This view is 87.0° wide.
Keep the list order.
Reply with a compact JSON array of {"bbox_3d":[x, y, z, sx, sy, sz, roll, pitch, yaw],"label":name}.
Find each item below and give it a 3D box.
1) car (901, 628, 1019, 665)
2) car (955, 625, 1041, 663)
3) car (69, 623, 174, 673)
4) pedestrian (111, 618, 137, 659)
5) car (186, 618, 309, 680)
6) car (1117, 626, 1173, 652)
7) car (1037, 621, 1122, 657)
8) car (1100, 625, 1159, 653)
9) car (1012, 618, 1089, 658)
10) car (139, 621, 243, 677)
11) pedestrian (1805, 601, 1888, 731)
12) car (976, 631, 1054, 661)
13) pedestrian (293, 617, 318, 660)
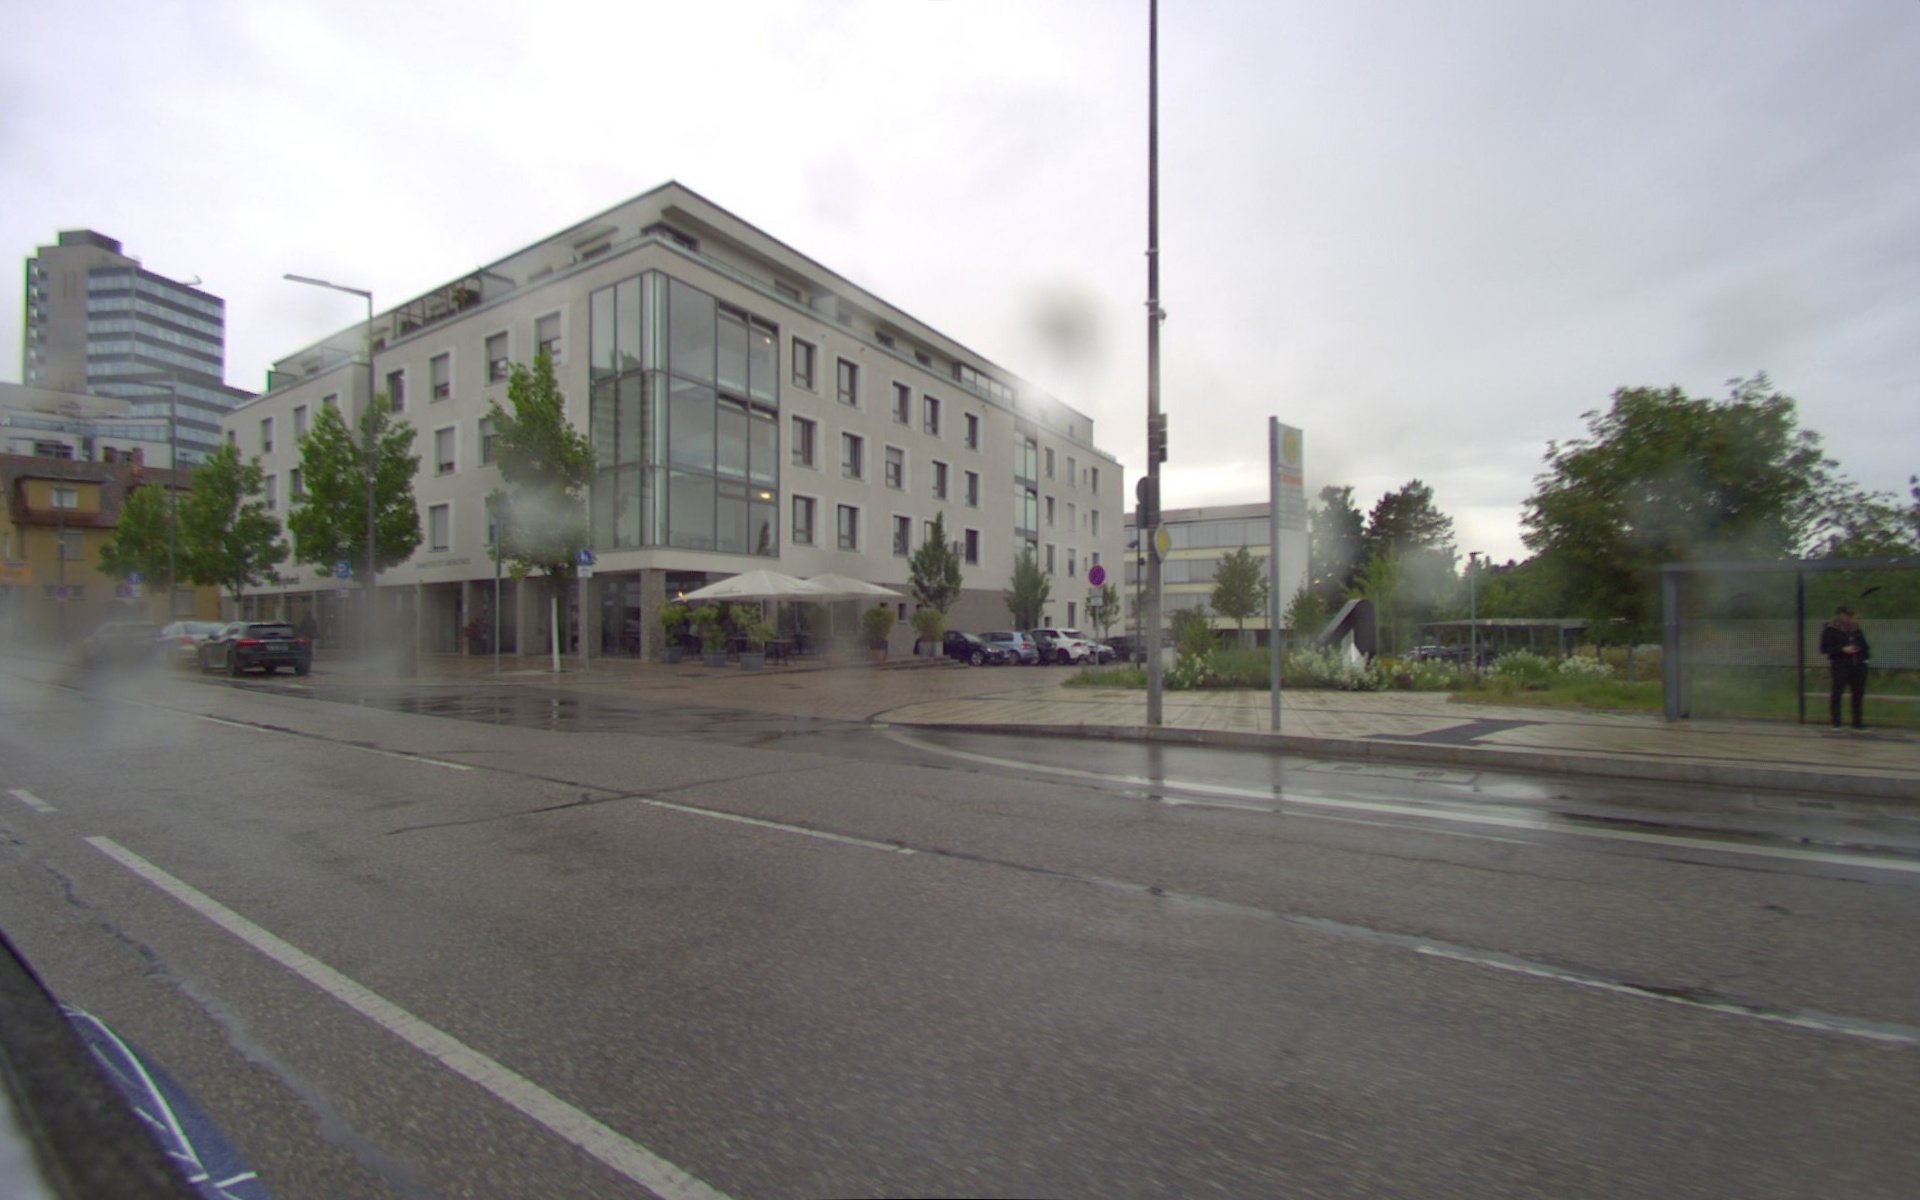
[{"bbox_3d":[-0.010,1.871,41.078,4.442,1.305,1.781,1,-1,23],"label":"car"},{"bbox_3d":[1.626,1.870,43.663,3.410,1.470,1.491,1,-1,21],"label":"car"},{"bbox_3d":[-28.858,1.605,34.796,4.471,1.473,1.779,1,0,37],"label":"car"},{"bbox_3d":[-38.510,1.768,46.630,0.882,1.801,0.792,0,-1,44],"label":"pedestrian"},{"bbox_3d":[-19.622,1.304,27.815,4.465,1.594,1.572,-1,-2,39],"label":"car"},{"bbox_3d":[11.537,2.437,63.177,3.201,1.493,1.434,1,-1,23],"label":"car"},{"bbox_3d":[6.173,1.994,52.120,3.971,1.702,1.986,1,-1,21],"label":"car"},{"bbox_3d":[10.148,2.315,60.469,3.192,1.570,1.504,1,-1,25],"label":"car"},{"bbox_3d":[4.408,1.842,49.405,3.436,1.790,1.480,1,-1,23],"label":"car"},{"bbox_3d":[-23.934,1.481,31.432,4.576,1.521,1.673,1,-1,41],"label":"car"},{"bbox_3d":[12.448,0.904,14.230,0.670,1.758,0.778,1,-1,25],"label":"pedestrian"},{"bbox_3d":[2.510,2.054,45.968,3.239,1.230,1.386,1,-1,23],"label":"car"},{"bbox_3d":[-27.466,1.604,42.456,0.798,1.751,1.005,2,-1,-35],"label":"pedestrian"}]
